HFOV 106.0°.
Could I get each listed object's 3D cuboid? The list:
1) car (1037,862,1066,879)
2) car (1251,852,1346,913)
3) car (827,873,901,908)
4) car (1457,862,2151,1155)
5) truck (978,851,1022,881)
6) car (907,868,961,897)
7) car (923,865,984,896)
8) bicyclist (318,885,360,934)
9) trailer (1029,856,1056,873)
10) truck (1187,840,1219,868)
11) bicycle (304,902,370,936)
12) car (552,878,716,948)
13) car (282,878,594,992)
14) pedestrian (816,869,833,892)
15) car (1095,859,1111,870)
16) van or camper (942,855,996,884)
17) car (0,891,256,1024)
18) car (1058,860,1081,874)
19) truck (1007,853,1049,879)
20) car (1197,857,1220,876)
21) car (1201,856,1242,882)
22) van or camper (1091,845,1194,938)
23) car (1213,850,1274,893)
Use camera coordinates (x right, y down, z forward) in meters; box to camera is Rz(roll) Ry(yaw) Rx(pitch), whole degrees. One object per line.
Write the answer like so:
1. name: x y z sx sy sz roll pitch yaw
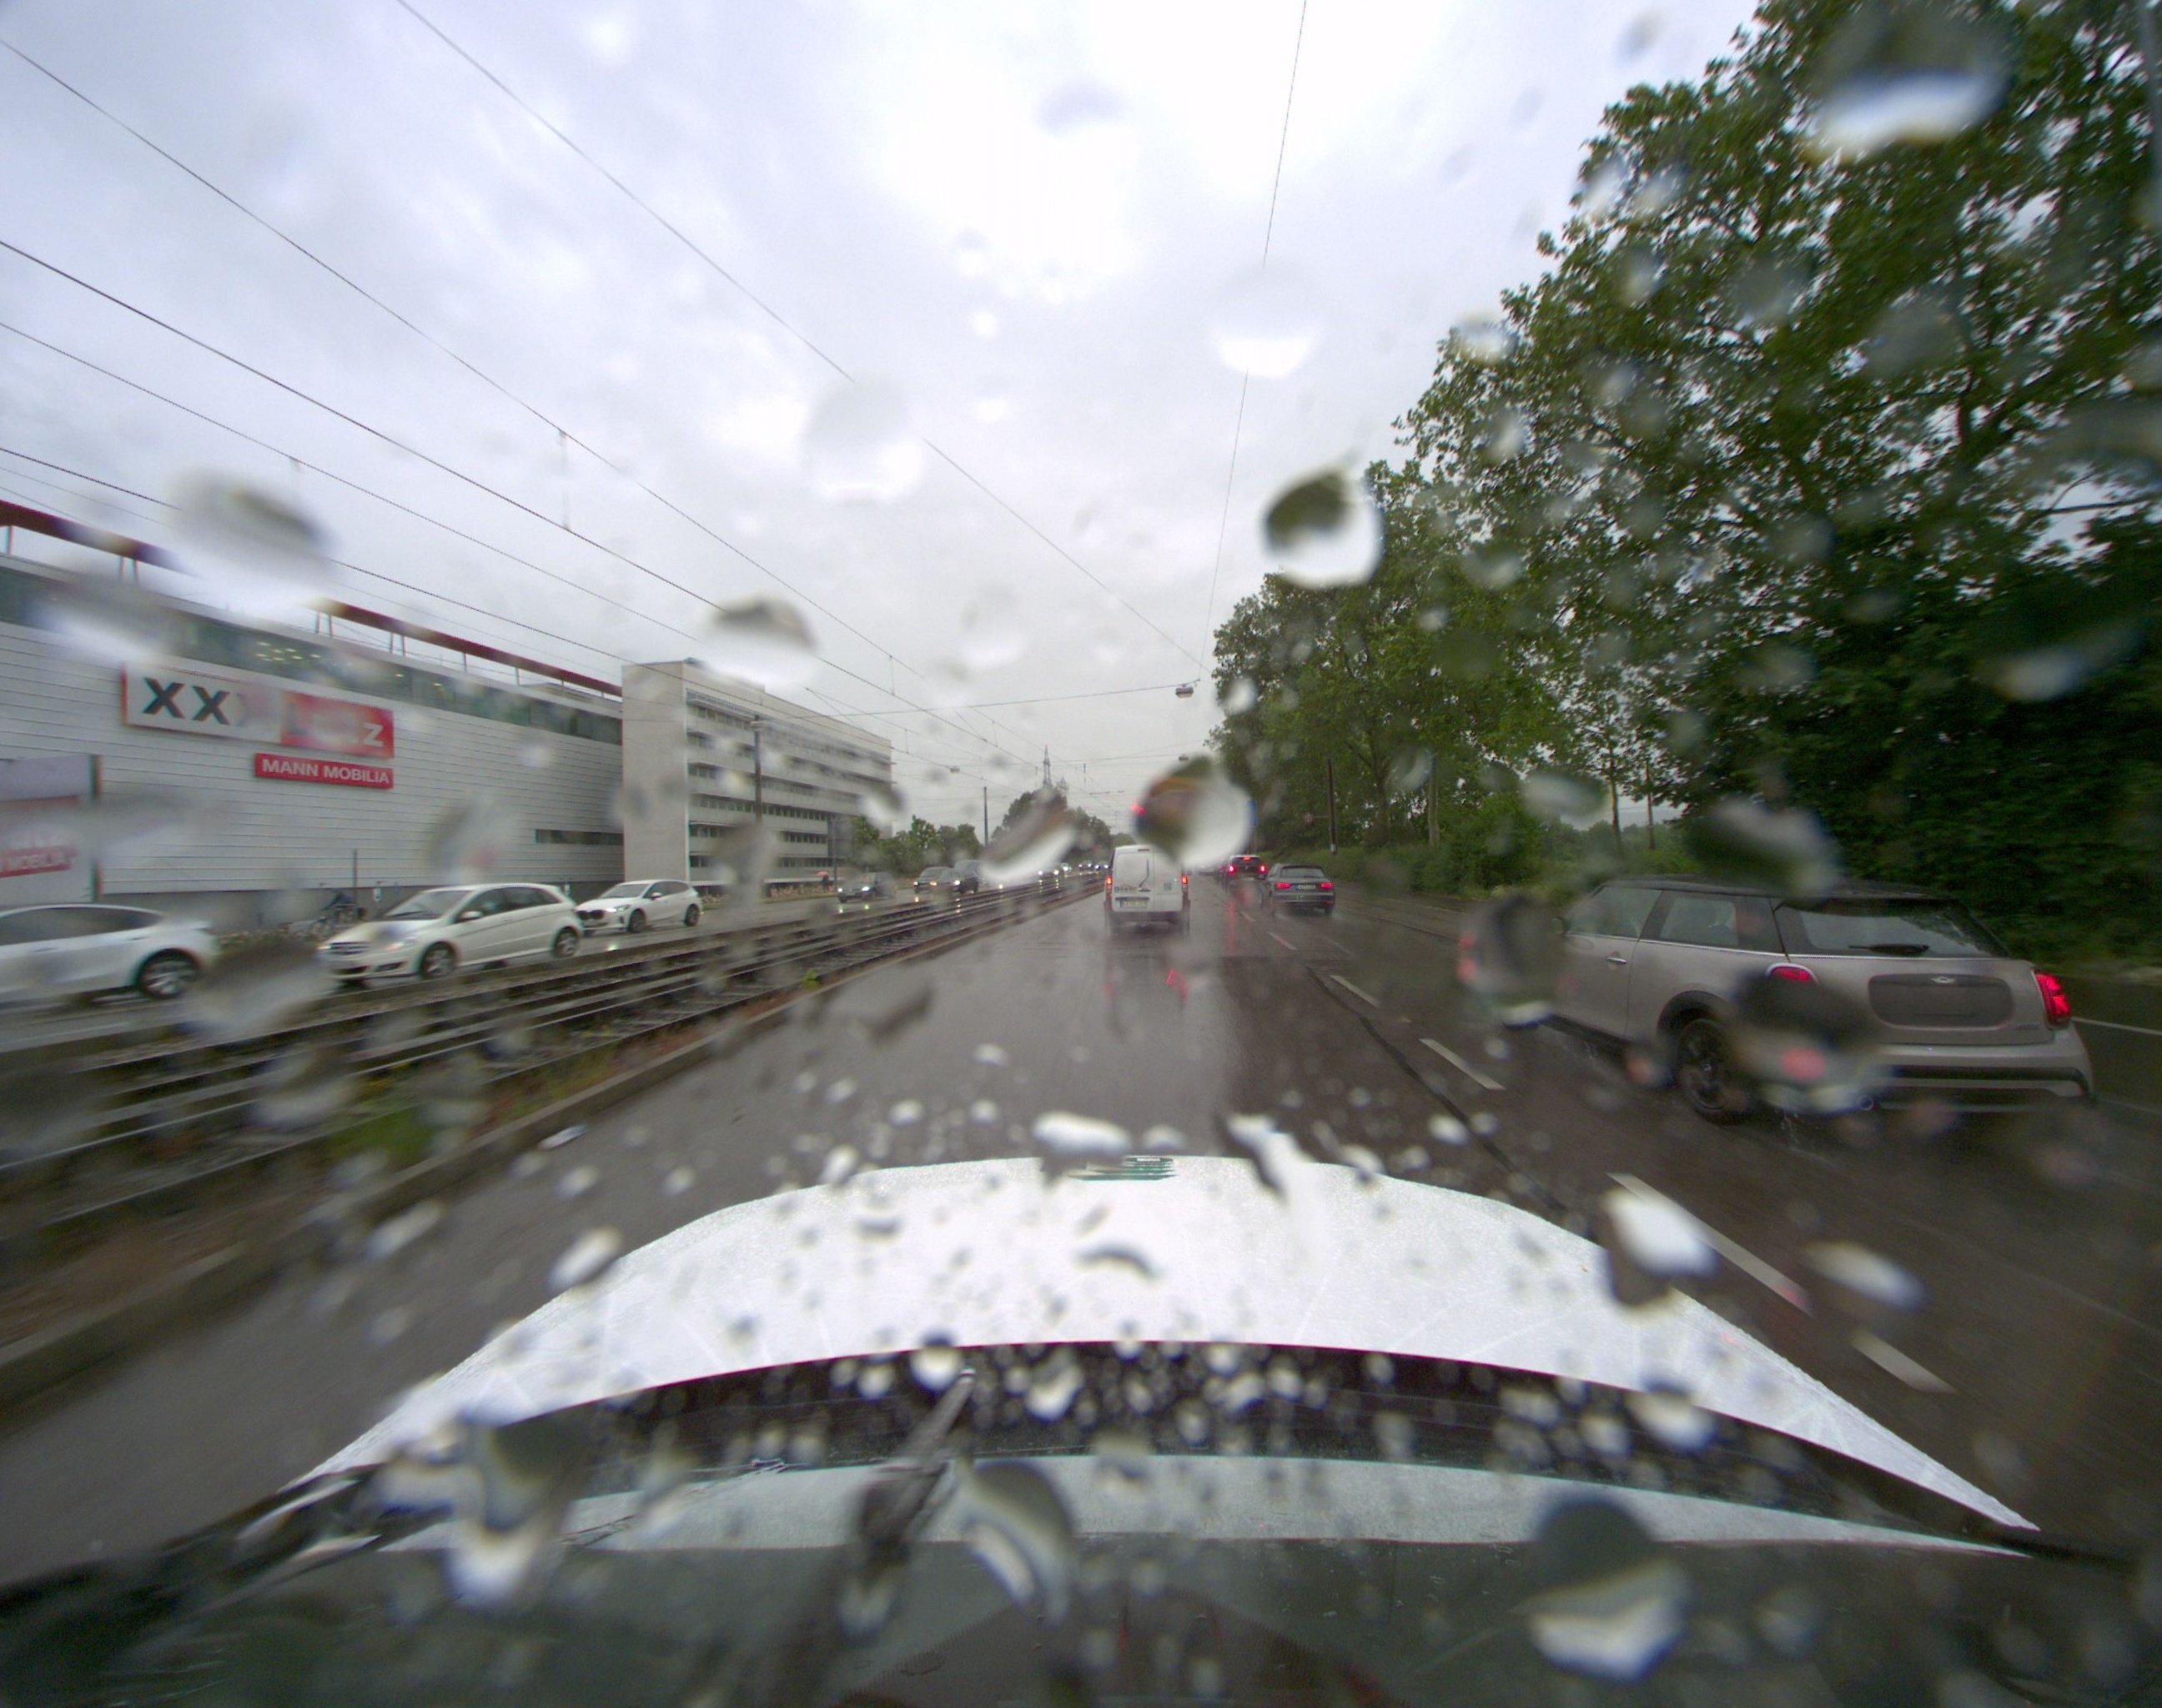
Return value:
1. car: -2.731 1.502 76.518 1.848 1.494 4.699 -3 -1 7
2. car: 6.020 0.731 22.954 1.958 1.528 3.997 -1 0 6
3. car: -11.145 1.834 42.257 1.952 1.516 4.565 -4 -1 9
4. car: 4.481 0.792 5.981 1.784 1.414 3.856 1 -1 2
5. truck: -6.975 0.989 70.941 2.213 2.462 6.085 0 0 11
6. car: -9.346 1.781 52.208 1.847 1.618 4.920 -3 -1 9
7. car: -7.040 1.434 45.356 1.982 1.457 4.682 -4 -1 8
8. bicyclist: -24.992 1.864 27.433 0.667 1.589 0.793 0 0 7
9. trailer: -4.158 1.107 87.671 2.106 1.793 3.847 0 0 10
10. truck: 12.763 -0.018 85.814 3.096 2.773 6.342 -1 0 7
11. bicycle: -24.998 2.160 27.390 0.665 1.016 1.559 0 0 7
12. car: -13.745 1.739 25.448 1.982 1.834 4.704 -2 -1 8
13. car: -11.397 1.331 14.922 1.862 1.573 4.339 0 1 9
14. pedestrian: -20.311 2.104 64.461 0.818 1.763 1.053 1 -1 10
15. car: 3.217 1.530 119.956 1.808 1.623 4.545 -2 -1 7
16. van or camper: -8.192 1.112 60.180 2.291 2.014 5.701 0 0 10
17. car: -15.618 1.497 11.876 1.897 1.606 4.851 1 1 7
18. car: -1.454 1.594 103.546 1.981 1.583 4.779 -3 0 10
19. truck: -5.262 1.140 81.796 2.419 2.458 7.240 0 0 11
20. car: 10.414 1.011 66.695 1.808 1.414 3.787 -1 0 8
21. car: 8.333 0.847 48.464 1.812 1.414 3.778 -1 0 0
22. van or camper: 1.367 0.709 17.811 1.984 1.784 4.006 0 1 5
23. car: 6.961 0.684 35.309 1.892 1.717 4.729 -1 0 2
